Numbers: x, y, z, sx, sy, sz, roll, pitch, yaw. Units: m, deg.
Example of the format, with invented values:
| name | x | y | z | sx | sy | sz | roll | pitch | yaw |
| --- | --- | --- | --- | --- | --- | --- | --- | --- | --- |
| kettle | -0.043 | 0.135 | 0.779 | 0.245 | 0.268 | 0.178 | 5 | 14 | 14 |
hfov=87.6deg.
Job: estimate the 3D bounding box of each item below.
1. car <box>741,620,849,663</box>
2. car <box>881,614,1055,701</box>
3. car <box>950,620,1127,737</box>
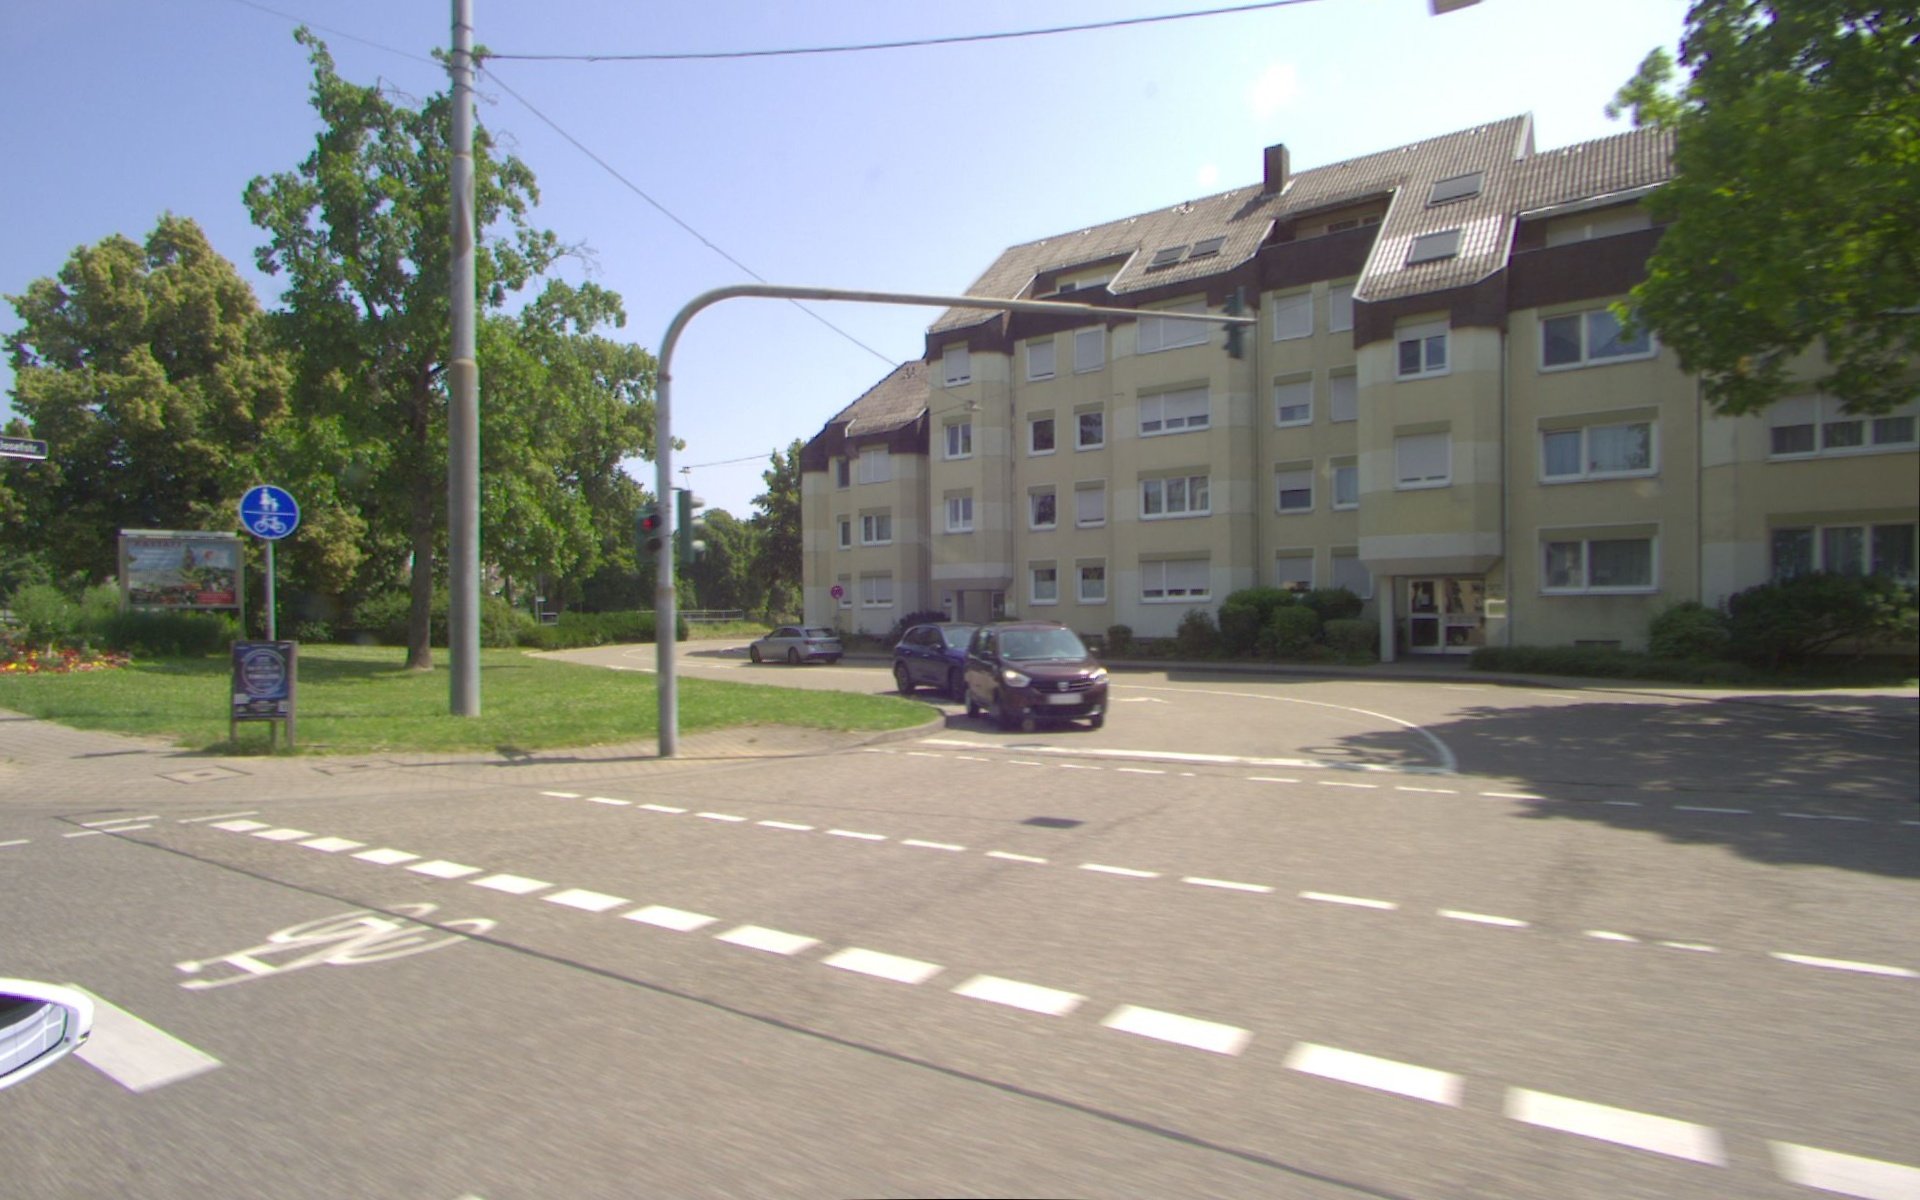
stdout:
| name | x | y | z | sx | sy | sz | roll | pitch | yaw |
| --- | --- | --- | --- | --- | --- | --- | --- | --- | --- |
| car | -6.210 | 1.514 | 37.425 | 1.880 | 1.519 | 4.488 | 1 | -2 | -42 |
| car | 0.041 | 1.219 | 22.783 | 1.970 | 1.723 | 4.748 | -1 | -1 | -27 |
| car | 1.121 | 1.179 | 16.809 | 1.881 | 1.653 | 4.817 | 0 | -1 | -9 |
